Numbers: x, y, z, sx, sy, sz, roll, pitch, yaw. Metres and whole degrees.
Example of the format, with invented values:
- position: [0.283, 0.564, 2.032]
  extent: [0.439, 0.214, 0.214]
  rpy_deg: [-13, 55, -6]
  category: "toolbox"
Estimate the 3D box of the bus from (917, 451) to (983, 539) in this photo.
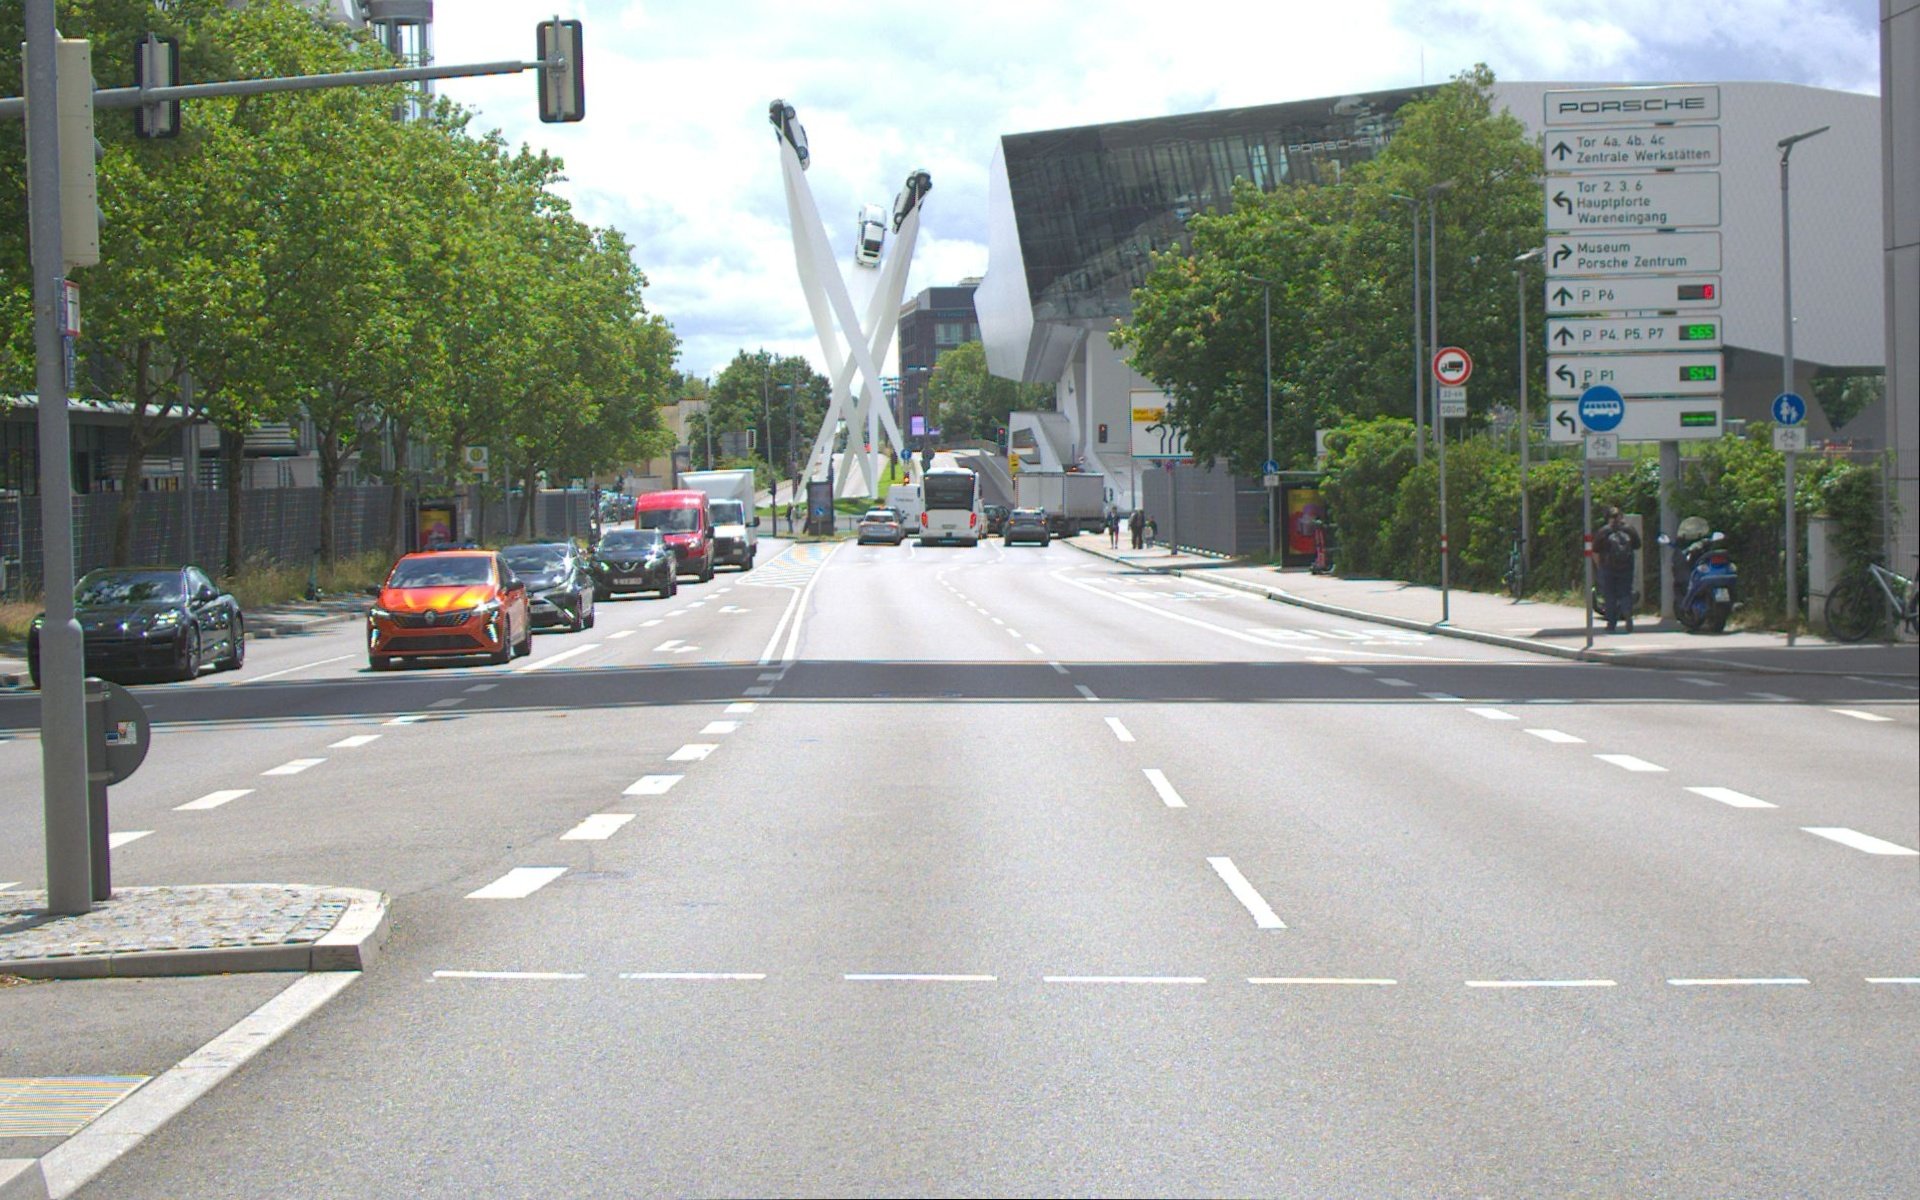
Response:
- position: [-0.419, -4.552, 150.102]
  extent: [2.787, 3.673, 6.943]
  rpy_deg: [1, 1, 0]
  category: "bus"

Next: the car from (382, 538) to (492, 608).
- position: [-11.210, -0.592, 73.942]
  extent: [1.727, 1.378, 3.701]
  rpy_deg: [-3, 1, 0]
  category: "car"

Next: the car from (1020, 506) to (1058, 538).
- position: [3.342, -3.311, 146.167]
  extent: [1.557, 1.269, 3.701]
  rpy_deg: [-3, 1, 1]
  category: "car"

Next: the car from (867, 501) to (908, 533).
- position: [-3.123, -3.595, 148.691]
  extent: [1.557, 1.269, 3.701]
  rpy_deg: [-3, 1, 1]
  category: "car"

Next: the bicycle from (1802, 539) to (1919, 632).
- position: [11.166, -0.171, 40.862]
  extent: [2.222, 1.083, 0.476]
  rpy_deg: [1, 1, 35]
  category: "bicycle"

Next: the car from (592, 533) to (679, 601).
- position: [-7.397, -0.769, 78.569]
  extent: [1.557, 1.443, 3.773]
  rpy_deg: [-3, 1, 0]
  category: "car"

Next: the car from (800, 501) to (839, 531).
- position: [-6.377, -3.814, 155.863]
  extent: [1.557, 1.269, 3.701]
  rpy_deg: [-3, 1, 0]
  category: "car"

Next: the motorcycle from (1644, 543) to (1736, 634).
- position: [9.542, -0.160, 45.017]
  extent: [0.418, 1.162, 1.957]
  rpy_deg: [1, 1, -11]
  category: "motorcycle"

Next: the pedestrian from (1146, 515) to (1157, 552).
- position: [7.382, -2.545, 132.246]
  extent: [0.386, 1.416, 0.423]
  rpy_deg: [1, 0, 0]
  category: "pedestrian"

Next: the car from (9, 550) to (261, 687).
- position: [-10.216, 0.182, 42.940]
  extent: [1.917, 1.483, 4.772]
  rpy_deg: [-3, 1, 0]
  category: "car"

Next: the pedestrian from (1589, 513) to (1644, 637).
- position: [8.767, -0.329, 45.893]
  extent: [0.533, 1.635, 0.658]
  rpy_deg: [1, 0, -6]
  category: "pedestrian"

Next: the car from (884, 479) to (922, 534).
- position: [-2.818, -4.640, 171.049]
  extent: [1.843, 2.614, 4.000]
  rpy_deg: [1, 1, 0]
  category: "car"

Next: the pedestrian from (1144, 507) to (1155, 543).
- position: [7.444, -2.948, 135.155]
  extent: [0.386, 1.416, 0.423]
  rpy_deg: [1, 0, 0]
  category: "pedestrian"

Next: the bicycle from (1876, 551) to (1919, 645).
- position: [11.733, -0.014, 39.640]
  extent: [2.222, 1.083, 0.476]
  rpy_deg: [1, 1, 35]
  category: "bicycle"

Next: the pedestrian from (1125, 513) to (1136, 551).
- position: [6.548, -2.615, 132.206]
  extent: [0.386, 1.416, 0.423]
  rpy_deg: [1, 0, 0]
  category: "pedestrian"

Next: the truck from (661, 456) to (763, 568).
- position: [-7.649, -2.676, 106.781]
  extent: [2.591, 3.312, 7.079]
  rpy_deg: [1, 1, 0]
  category: "truck"

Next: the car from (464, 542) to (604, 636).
- position: [-6.999, -0.209, 56.808]
  extent: [1.769, 1.415, 3.701]
  rpy_deg: [-3, 1, 0]
  category: "car"

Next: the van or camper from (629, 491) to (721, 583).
- position: [-7.774, -1.738, 94.254]
  extent: [2.047, 2.458, 5.595]
  rpy_deg: [0, 1, 0]
  category: "van or camper"

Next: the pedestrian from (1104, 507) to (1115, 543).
- position: [5.882, -2.951, 135.444]
  extent: [0.386, 1.416, 0.423]
  rpy_deg: [1, 0, 0]
  category: "pedestrian"

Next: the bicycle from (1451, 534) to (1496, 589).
- position: [9.738, -0.735, 65.257]
  extent: [0.418, 1.019, 1.913]
  rpy_deg: [1, 1, -5]
  category: "bicycle"

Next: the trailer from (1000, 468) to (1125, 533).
- position: [5.219, -4.956, 172.121]
  extent: [3.322, 2.984, 10.366]
  rpy_deg: [1, 1, 19]
  category: "trailer"

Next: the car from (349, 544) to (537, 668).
- position: [-6.537, 0.046, 43.796]
  extent: [1.769, 1.415, 3.701]
  rpy_deg: [-3, 1, 0]
  category: "car"
